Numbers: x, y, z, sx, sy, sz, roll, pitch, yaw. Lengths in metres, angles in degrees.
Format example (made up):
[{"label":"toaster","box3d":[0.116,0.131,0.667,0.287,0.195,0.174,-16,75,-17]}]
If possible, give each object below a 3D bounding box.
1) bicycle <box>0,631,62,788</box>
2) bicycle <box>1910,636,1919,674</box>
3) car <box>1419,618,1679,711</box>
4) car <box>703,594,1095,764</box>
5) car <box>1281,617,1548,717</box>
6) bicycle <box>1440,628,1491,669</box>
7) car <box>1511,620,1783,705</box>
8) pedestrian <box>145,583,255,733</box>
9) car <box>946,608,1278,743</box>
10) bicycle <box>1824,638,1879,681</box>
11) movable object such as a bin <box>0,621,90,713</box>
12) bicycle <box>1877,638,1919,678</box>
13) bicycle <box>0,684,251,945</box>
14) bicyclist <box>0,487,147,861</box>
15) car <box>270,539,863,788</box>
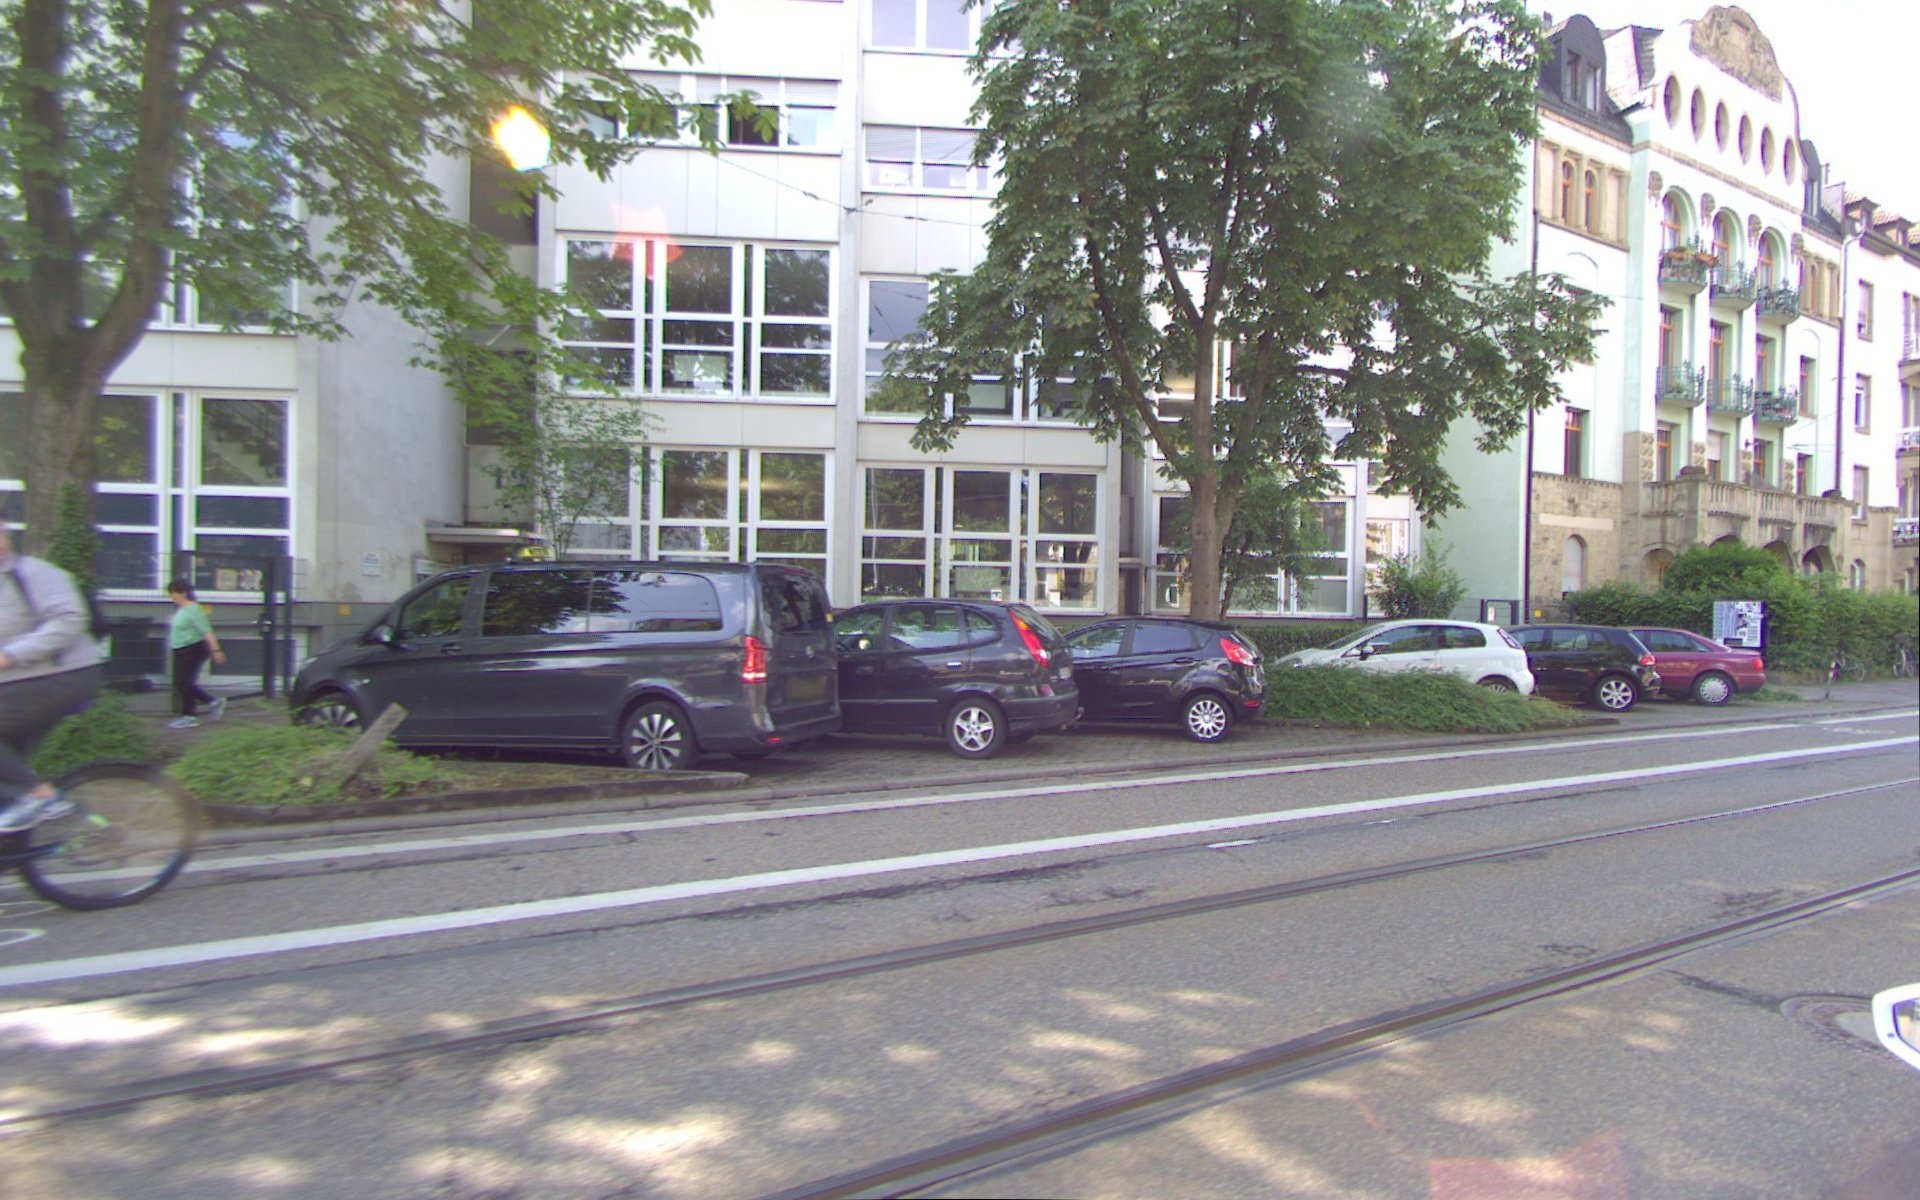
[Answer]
[{"label":"bicycle","box3d":[-7.890,0.815,7.947,1.965,1.133,0.583,1,-1,31]},{"label":"bicycle","box3d":[25.880,1.466,26.679,1.787,0.972,0.381,1,2,-29]},{"label":"car","box3d":[10.289,1.113,17.883,3.733,1.503,1.698,-1,-2,21]},{"label":"car","box3d":[-0.606,0.810,10.983,3.920,1.613,1.742,-1,-2,16]},{"label":"car","box3d":[7.272,1.069,16.450,3.730,1.503,1.699,-1,-2,15]},{"label":"bicycle","box3d":[14.164,1.345,28.143,1.790,1.079,0.380,1,2,-32]},{"label":"car","box3d":[12.971,1.161,19.258,3.891,1.503,1.847,-1,-2,18]},{"label":"pedestrian","box3d":[-8.469,0.628,11.197,0.876,1.597,0.636,2,-1,-45]},{"label":"car","box3d":[1.953,0.905,12.688,3.921,1.503,1.741,-1,-2,18]},{"label":"bicycle","box3d":[21.409,1.420,24.112,1.787,0.972,0.381,1,2,-29]},{"label":"movable object such as a bin","box3d":[-10.608,0.756,11.392,0.924,1.000,0.960,2,-3,-30]},{"label":"bicycle","box3d":[24.083,1.462,25.658,1.787,0.972,0.381,1,2,-29]},{"label":"bicycle","box3d":[-4.404,0.937,4.463,1.978,1.054,0.651,2,-1,-32]},{"label":"bicyclist","box3d":[-4.244,0.318,4.570,0.734,1.597,0.637,2,-1,-33]},{"label":"car","box3d":[-3.645,0.566,9.547,5.064,1.980,1.918,-1,-2,15]}]
